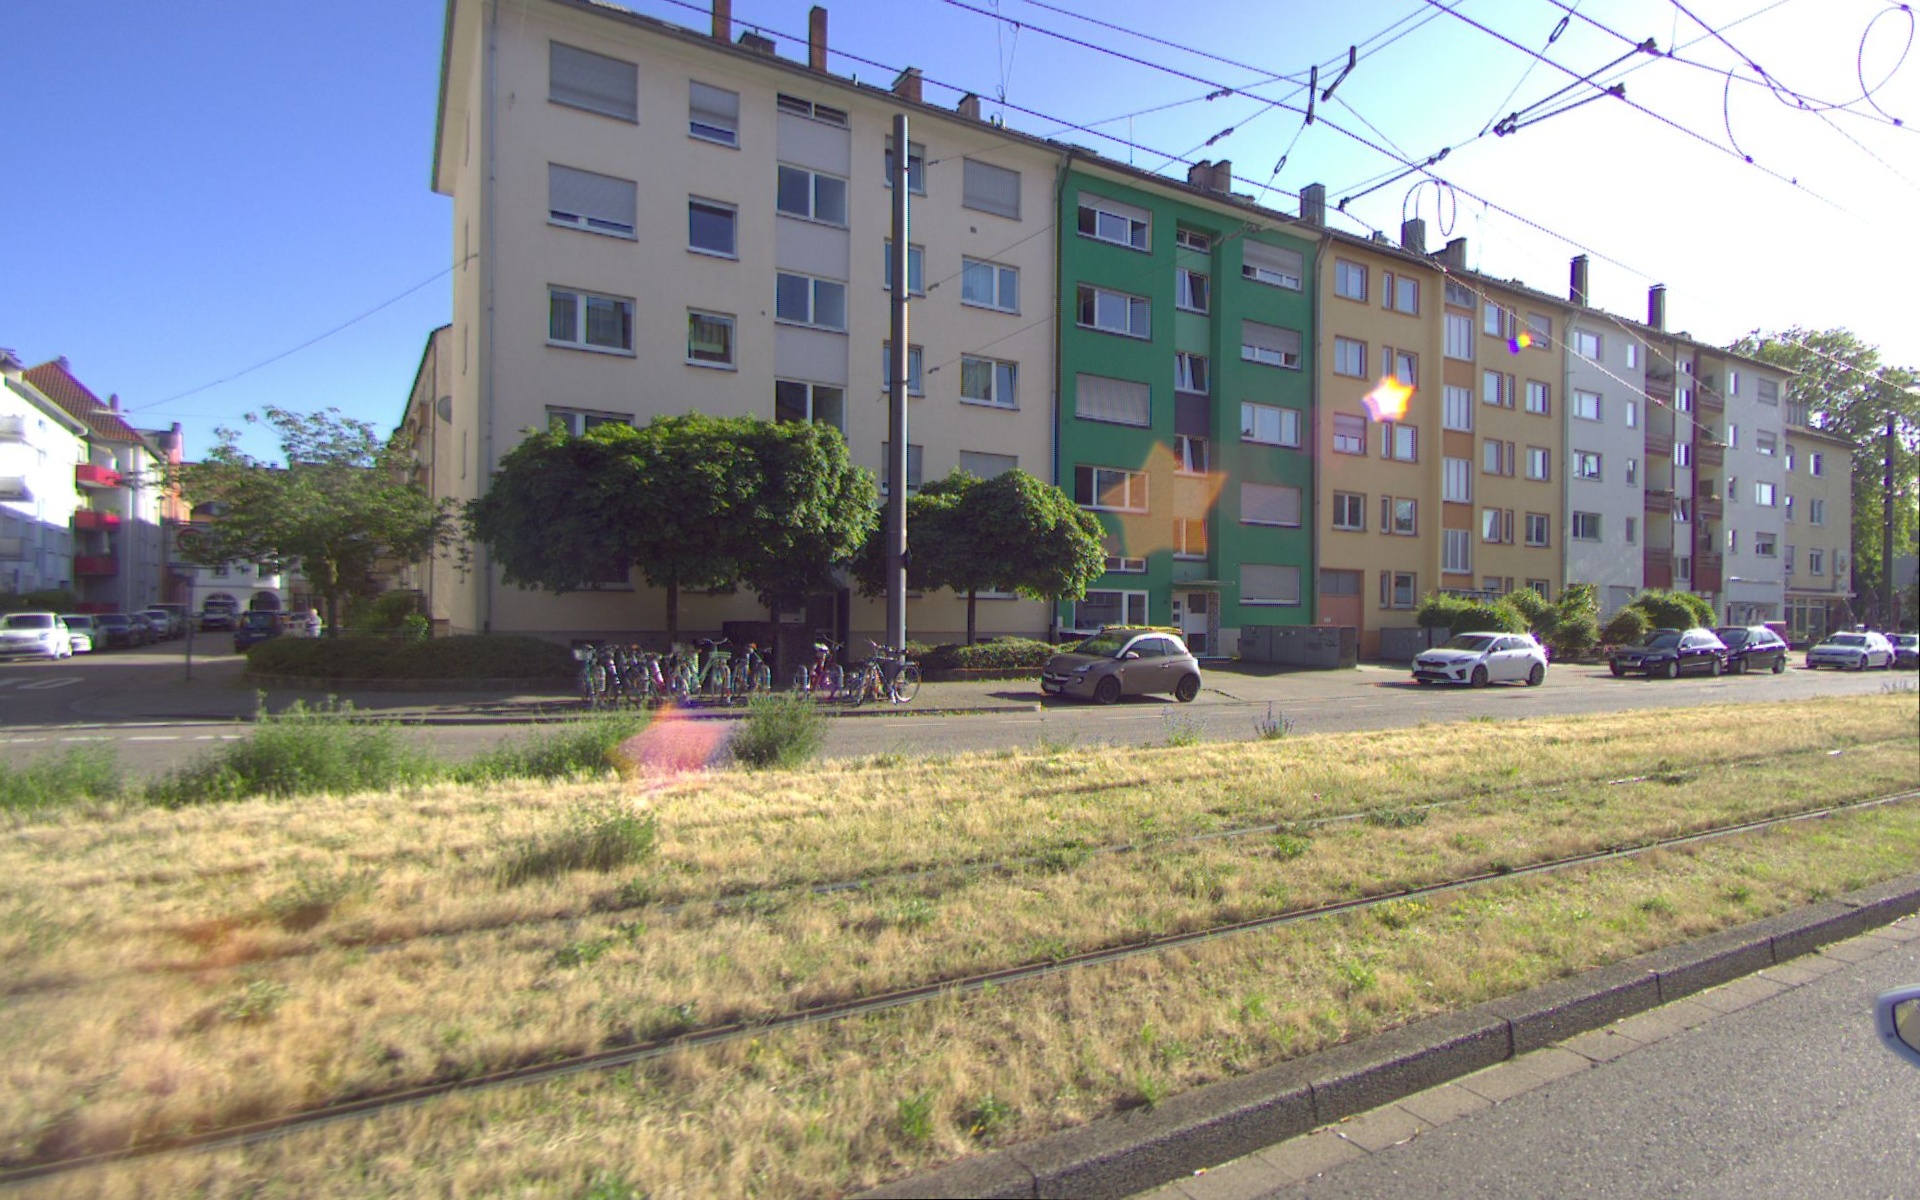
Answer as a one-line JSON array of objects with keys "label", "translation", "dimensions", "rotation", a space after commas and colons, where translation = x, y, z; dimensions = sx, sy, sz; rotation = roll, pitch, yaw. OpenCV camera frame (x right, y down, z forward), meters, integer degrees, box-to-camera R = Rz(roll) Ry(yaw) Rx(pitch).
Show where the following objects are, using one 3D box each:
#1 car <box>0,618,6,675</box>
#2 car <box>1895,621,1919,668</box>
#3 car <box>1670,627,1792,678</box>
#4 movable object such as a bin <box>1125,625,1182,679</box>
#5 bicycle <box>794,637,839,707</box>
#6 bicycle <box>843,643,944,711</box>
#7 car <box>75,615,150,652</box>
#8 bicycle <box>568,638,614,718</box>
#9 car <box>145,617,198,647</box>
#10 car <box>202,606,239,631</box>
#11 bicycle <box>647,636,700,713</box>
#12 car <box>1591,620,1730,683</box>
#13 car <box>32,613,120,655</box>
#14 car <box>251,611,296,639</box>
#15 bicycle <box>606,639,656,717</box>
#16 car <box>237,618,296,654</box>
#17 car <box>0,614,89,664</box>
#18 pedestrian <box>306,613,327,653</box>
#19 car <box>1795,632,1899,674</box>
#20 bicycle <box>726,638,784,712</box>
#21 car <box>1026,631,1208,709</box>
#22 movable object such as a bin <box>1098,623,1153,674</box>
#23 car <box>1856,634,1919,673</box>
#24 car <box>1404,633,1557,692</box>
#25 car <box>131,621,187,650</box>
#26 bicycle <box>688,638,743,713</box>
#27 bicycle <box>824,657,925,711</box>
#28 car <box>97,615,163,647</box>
[{"label": "car", "translation": [-23.973, 1.108, 23.360], "dimensions": [1.753, 1.431, 3.966], "rotation": [1, -2, -31]}, {"label": "car", "translation": [45.631, 2.088, 46.356], "dimensions": [5.305, 2.048, 2.023], "rotation": [1, 2, -29]}, {"label": "car", "translation": [27.560, 1.828, 35.892], "dimensions": [4.102, 1.629, 1.984], "rotation": [1, 2, -30]}, {"label": "movable object such as a bin", "translation": [5.319, 1.424, 27.651], "dimensions": [1.026, 1.386, 1.142], "rotation": [1, 2, -27]}, {"label": "bicycle", "translation": [-2.686, 1.323, 18.980], "dimensions": [0.603, 1.107, 2.053], "rotation": [2, 1, -2]}, {"label": "bicycle", "translation": [-1.200, 1.383, 18.420], "dimensions": [1.921, 1.107, 0.504], "rotation": [1, 2, -42]}, {"label": "car", "translation": [-34.926, 1.380, 41.479], "dimensions": [1.753, 1.431, 3.966], "rotation": [1, -2, -31]}, {"label": "bicycle", "translation": [-6.200, 1.268, 16.822], "dimensions": [0.607, 1.107, 2.042], "rotation": [1, 2, -23]}, {"label": "car", "translation": [-44.714, 1.815, 57.045], "dimensions": [1.879, 1.632, 4.461], "rotation": [1, -2, -32]}, {"label": "car", "translation": [-58.859, 1.521, 80.037], "dimensions": [1.994, 1.935, 4.461], "rotation": [1, -2, -32]}, {"label": "bicycle", "translation": [-5.006, 1.256, 17.456], "dimensions": [0.607, 1.107, 2.042], "rotation": [1, 2, -23]}, {"label": "car", "translation": [23.065, 1.651, 33.061], "dimensions": [4.555, 1.862, 1.984], "rotation": [1, 2, -30]}, {"label": "car", "translation": [-32.481, 1.255, 37.008], "dimensions": [1.753, 1.431, 3.966], "rotation": [1, -2, -31]}, {"label": "car", "translation": [-36.810, 1.378, 53.940], "dimensions": [1.753, 1.431, 3.966], "rotation": [1, -2, -31]}, {"label": "bicycle", "translation": [-5.624, 1.286, 17.093], "dimensions": [0.607, 1.107, 2.042], "rotation": [1, 2, -23]}, {"label": "car", "translation": [-28.727, 1.492, 41.704], "dimensions": [1.753, 1.431, 3.966], "rotation": [1, -2, -31]}, {"label": "car", "translation": [-30.217, 1.267, 33.007], "dimensions": [1.753, 1.551, 3.966], "rotation": [1, -2, -31]}, {"label": "pedestrian", "translation": [-24.808, 1.266, 38.723], "dimensions": [0.659, 1.514, 0.584], "rotation": [1, 2, -32]}, {"label": "car", "translation": [35.804, 2.089, 40.526], "dimensions": [4.651, 1.511, 1.881], "rotation": [1, 1, -32]}, {"label": "bicycle", "translation": [-3.707, 1.312, 18.031], "dimensions": [0.607, 1.107, 2.042], "rotation": [1, 2, -23]}, {"label": "car", "translation": [3.393, 1.436, 21.578], "dimensions": [3.693, 1.461, 1.626], "rotation": [1, 1, -32]}, {"label": "movable object such as a bin", "translation": [4.741, 1.378, 28.773], "dimensions": [1.026, 1.386, 1.142], "rotation": [1, 2, -27]}, {"label": "car", "translation": [40.373, 2.259, 43.199], "dimensions": [4.279, 1.535, 1.684], "rotation": [1, 0, -33]}, {"label": "car", "translation": [14.510, 1.677, 27.960], "dimensions": [4.324, 1.474, 1.720], "rotation": [1, 0, -30]}, {"label": "car", "translation": [-41.306, 1.842, 51.892], "dimensions": [1.753, 1.431, 3.966], "rotation": [1, -2, -31]}, {"label": "bicycle", "translation": [-4.341, 1.300, 17.742], "dimensions": [0.607, 1.107, 2.042], "rotation": [1, 2, -23]}, {"label": "bicycle", "translation": [-1.571, 1.540, 18.734], "dimensions": [2.039, 0.877, 0.373], "rotation": [1, 2, -42]}, {"label": "car", "translation": [-38.003, 1.433, 46.066], "dimensions": [1.753, 1.431, 3.966], "rotation": [1, -2, -31]}]
